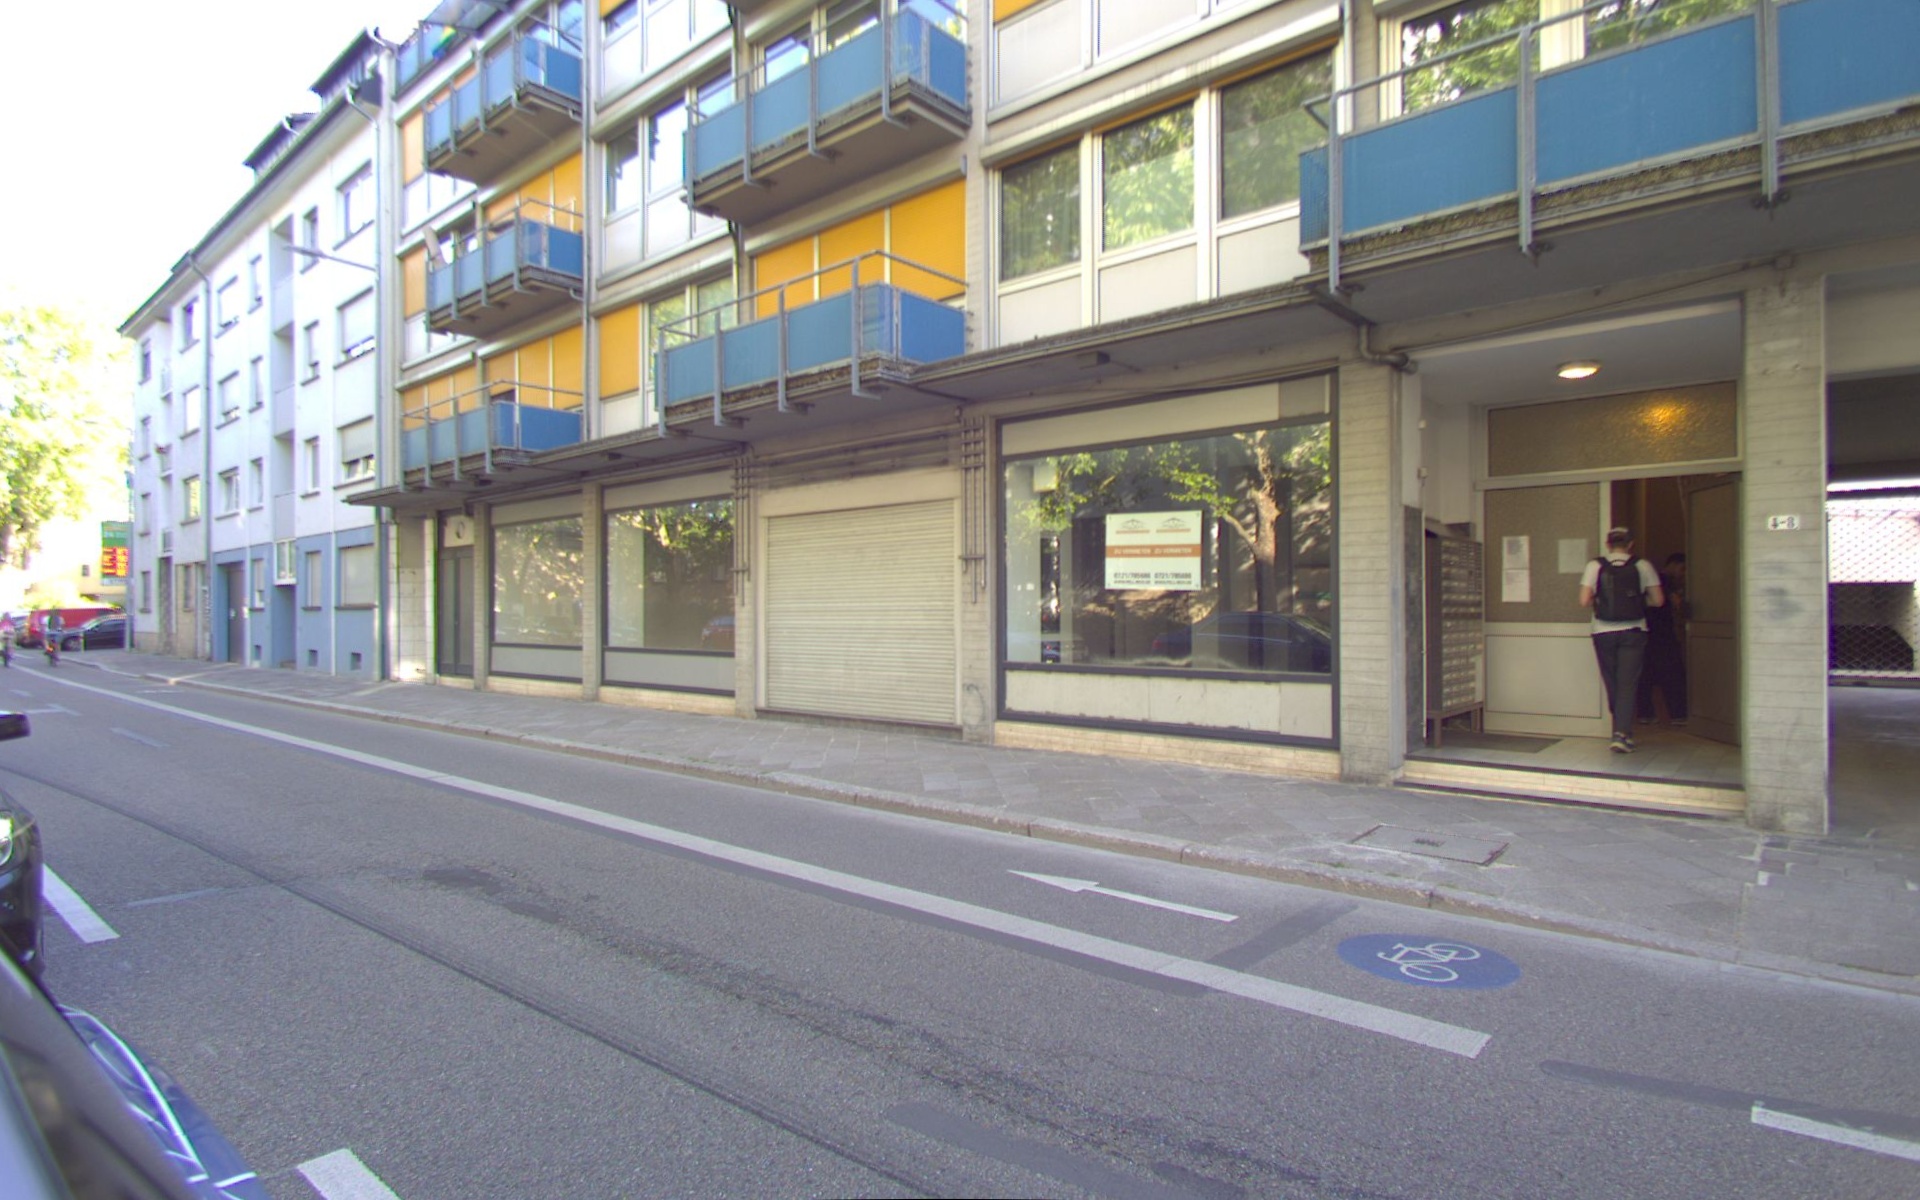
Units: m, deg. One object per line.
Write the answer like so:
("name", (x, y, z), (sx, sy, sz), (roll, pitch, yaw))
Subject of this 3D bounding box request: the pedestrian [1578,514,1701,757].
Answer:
("pedestrian", (5.430, 0.257, 8.076), (0.866, 1.813, 0.602), (-2, 0, -43))

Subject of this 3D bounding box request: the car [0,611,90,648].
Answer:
("car", (-57.396, 1.822, 62.853), (1.999, 2.210, 4.927), (-1, -1, 41))

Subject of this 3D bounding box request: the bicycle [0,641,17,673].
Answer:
("bicycle", (-29.874, 1.780, 31.505), (1.864, 0.936, 0.685), (-1, -1, 44))

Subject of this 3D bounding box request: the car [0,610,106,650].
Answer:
("car", (-53.315, 1.736, 59.192), (1.999, 2.210, 4.927), (-1, -1, 41))

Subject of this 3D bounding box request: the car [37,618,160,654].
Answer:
("car", (-39.752, 1.632, 46.776), (1.999, 1.506, 4.093), (-1, -1, 41))

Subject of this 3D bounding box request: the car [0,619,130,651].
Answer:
("car", (-45.721, 1.751, 51.694), (1.999, 1.506, 4.927), (-1, -1, 41))

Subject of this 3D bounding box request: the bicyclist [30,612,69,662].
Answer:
("bicyclist", (-29.215, 1.189, 32.464), (0.839, 1.566, 0.833), (-1, -1, 41))

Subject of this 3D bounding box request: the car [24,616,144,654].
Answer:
("car", (-41.632, 1.620, 48.160), (1.999, 1.703, 4.093), (-1, -1, 41))

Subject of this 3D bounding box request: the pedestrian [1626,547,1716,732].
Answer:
("pedestrian", (6.936, 0.377, 9.875), (0.661, 1.726, 0.541), (-1, -1, 38))

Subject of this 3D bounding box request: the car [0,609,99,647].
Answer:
("car", (-55.402, 1.672, 61.143), (1.999, 2.210, 4.927), (-1, -1, 41))

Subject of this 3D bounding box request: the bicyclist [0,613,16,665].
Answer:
("bicyclist", (-29.939, 1.211, 31.559), (0.982, 1.590, 0.677), (-2, -1, 44))

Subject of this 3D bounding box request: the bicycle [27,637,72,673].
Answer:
("bicycle", (-29.185, 1.752, 32.432), (1.835, 1.087, 0.854), (-1, -1, 41))

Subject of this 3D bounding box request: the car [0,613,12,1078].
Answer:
("car", (-5.038, 0.809, 3.812), (3.861, 1.467, 1.718), (-1, -1, 40))

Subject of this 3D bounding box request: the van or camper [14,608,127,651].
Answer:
("van or camper", (-43.888, 1.430, 50.002), (1.999, 2.029, 3.946), (-1, -1, 40))
